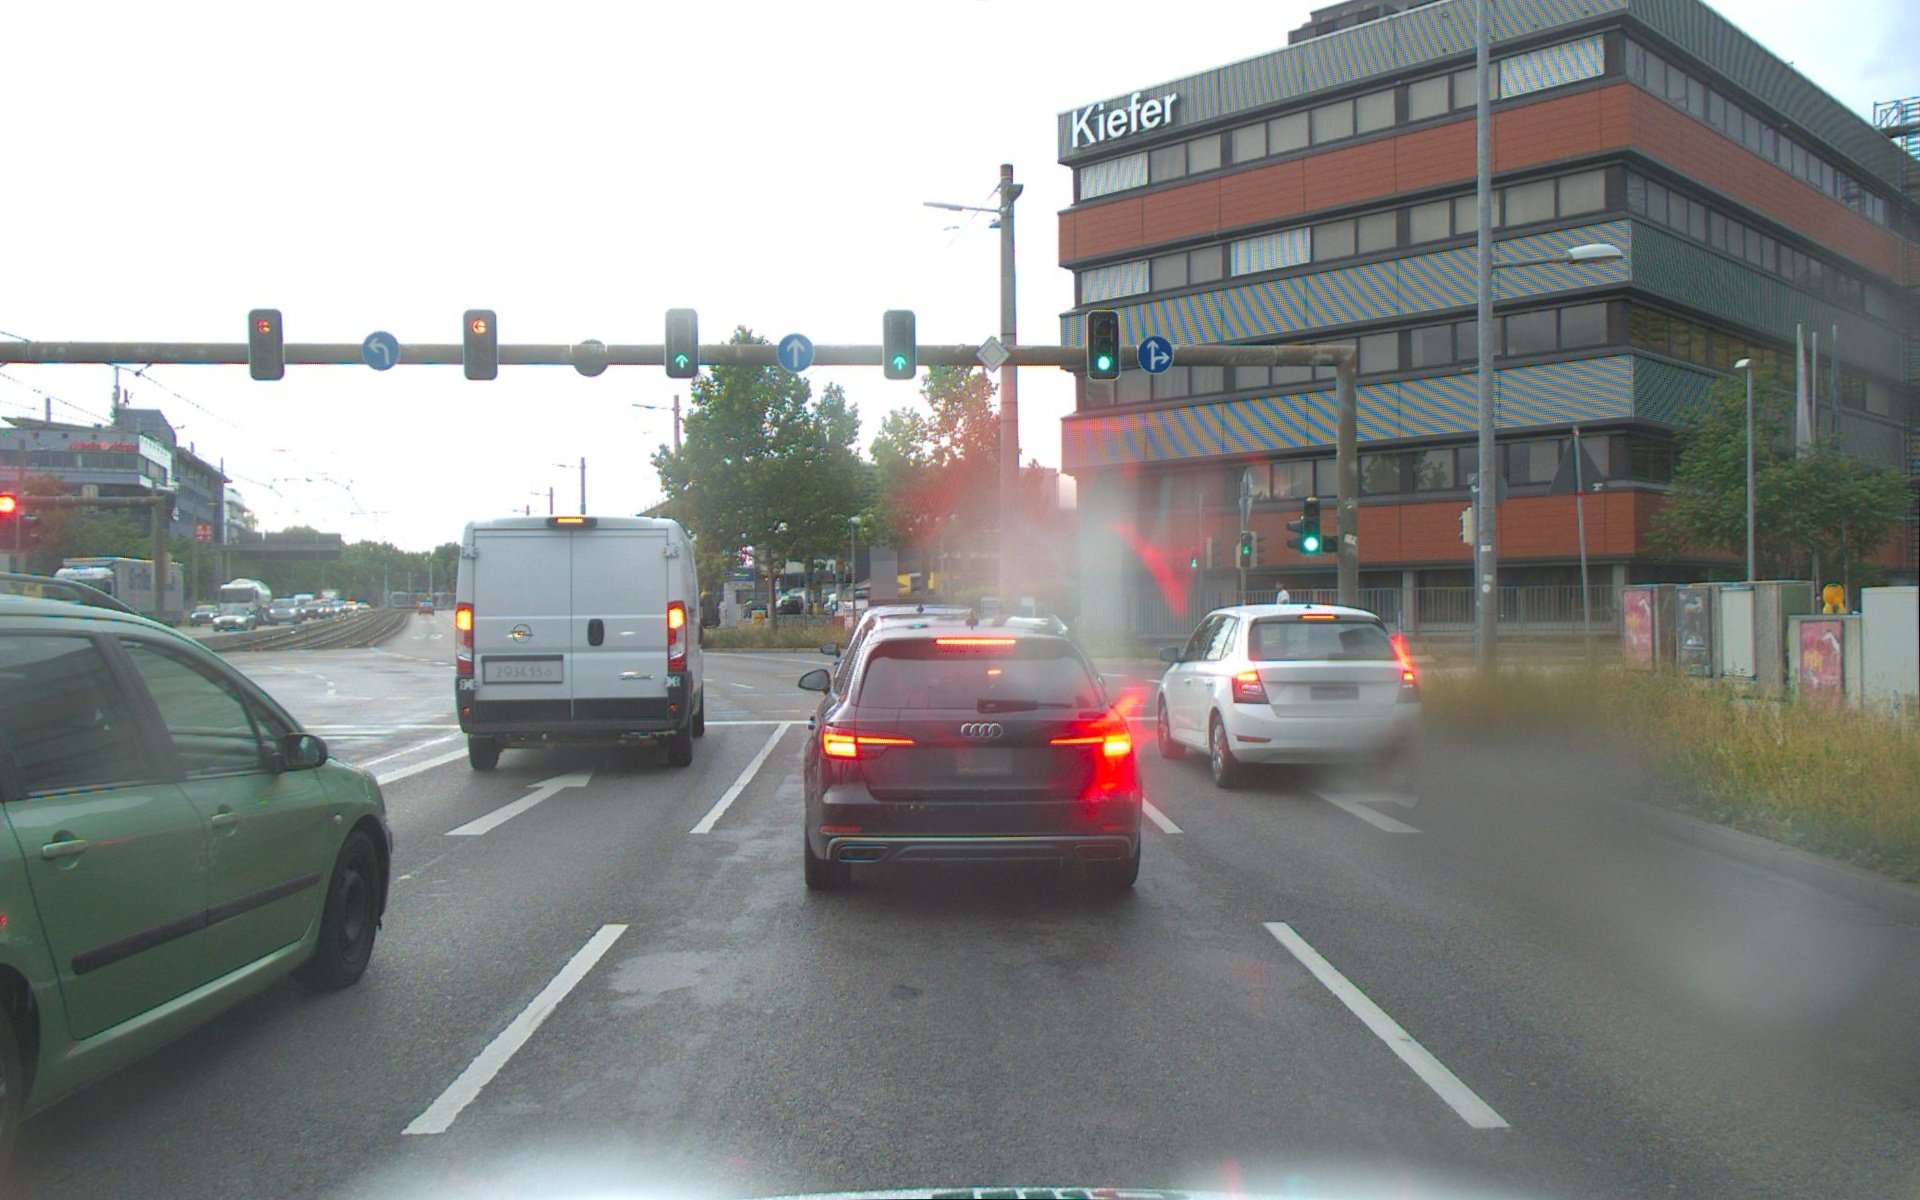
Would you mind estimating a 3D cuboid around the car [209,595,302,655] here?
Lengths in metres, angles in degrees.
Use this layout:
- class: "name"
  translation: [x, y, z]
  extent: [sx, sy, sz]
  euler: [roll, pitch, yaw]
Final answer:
- class: "car"
  translation: [-25.682, 0.887, 60.427]
  extent: [1.738, 2.049, 4.343]
  euler: [2, 0, -4]

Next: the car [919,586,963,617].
- class: "car"
  translation: [-1.340, 0.121, 114.938]
  extent: [1.844, 2.049, 3.749]
  euler: [2, -1, -22]

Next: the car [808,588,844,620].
- class: "car"
  translation: [-9.054, 0.288, 111.472]
  extent: [1.652, 2.049, 3.525]
  euler: [2, -1, -17]

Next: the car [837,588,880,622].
- class: "car"
  translation: [-6.339, 0.319, 102.655]
  extent: [1.960, 2.068, 3.985]
  euler: [-1, 0, -14]

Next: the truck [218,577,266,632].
- class: "truck"
  translation: [-52.889, 0.362, 121.922]
  extent: [2.705, 3.872, 5.380]
  euler: [-2, -1, -19]

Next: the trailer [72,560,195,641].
- class: "trailer"
  translation: [-46.026, 0.102, 92.629]
  extent: [2.602, 4.197, 12.713]
  euler: [-1, -1, -10]

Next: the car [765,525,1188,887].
- class: "car"
  translation: [0.050, 0.537, 9.690]
  extent: [1.953, 1.666, 3.999]
  euler: [1, -1, -1]

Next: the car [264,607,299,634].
- class: "car"
  translation: [-50.577, 1.519, 123.358]
  extent: [1.962, 1.869, 4.885]
  euler: [1, 1, -17]

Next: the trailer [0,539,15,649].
- class: "trailer"
  translation: [-37.030, -0.198, 58.671]
  extent: [2.746, 4.179, 11.406]
  euler: [-1, 0, -12]

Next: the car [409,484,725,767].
- class: "car"
  translation: [-3.673, 0.270, 16.498]
  extent: [2.398, 2.334, 4.897]
  euler: [2, -1, -6]

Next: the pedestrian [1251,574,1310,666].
- class: "pedestrian"
  translation: [7.712, 0.470, 39.888]
  extent: [1.120, 2.162, 1.222]
  euler: [-1, 1, -2]

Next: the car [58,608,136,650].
- class: "car"
  translation: [-36.920, 1.231, 70.854]
  extent: [1.854, 1.681, 4.083]
  euler: [2, -1, -12]

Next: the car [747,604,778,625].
- class: "car"
  translation: [-15.996, 1.154, 133.815]
  extent: [1.764, 1.619, 3.978]
  euler: [-1, 0, -19]

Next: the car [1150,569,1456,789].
- class: "car"
  translation: [2.869, 0.648, 14.698]
  extent: [1.792, 1.685, 3.998]
  euler: [0, -1, -2]

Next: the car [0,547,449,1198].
- class: "car"
  translation: [-3.040, 0.627, 4.990]
  extent: [1.660, 1.494, 4.402]
  euler: [2, -1, -1]

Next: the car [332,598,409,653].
- class: "car"
  translation: [-23.272, 0.981, 65.450]
  extent: [1.738, 2.049, 4.343]
  euler: [2, 0, -4]

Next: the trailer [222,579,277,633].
- class: "trailer"
  translation: [-54.757, 0.512, 127.700]
  extent: [2.682, 3.922, 11.171]
  euler: [-2, -1, -18]

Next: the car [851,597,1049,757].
- class: "car"
  translation: [-0.078, 0.754, 17.470]
  extent: [1.855, 1.491, 3.909]
  euler: [0, -1, 0]

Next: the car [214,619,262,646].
- class: "car"
  translation: [-45.343, 2.008, 103.980]
  extent: [1.870, 1.582, 4.550]
  euler: [2, -1, -13]

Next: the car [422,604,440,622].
- class: "car"
  translation: [-62.095, 1.531, 194.077]
  extent: [1.744, 2.049, 4.328]
  euler: [2, -1, -16]

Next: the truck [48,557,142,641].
- class: "truck"
  translation: [-44.779, 0.002, 85.776]
  extent: [2.619, 4.202, 6.168]
  euler: [-1, -1, -11]
